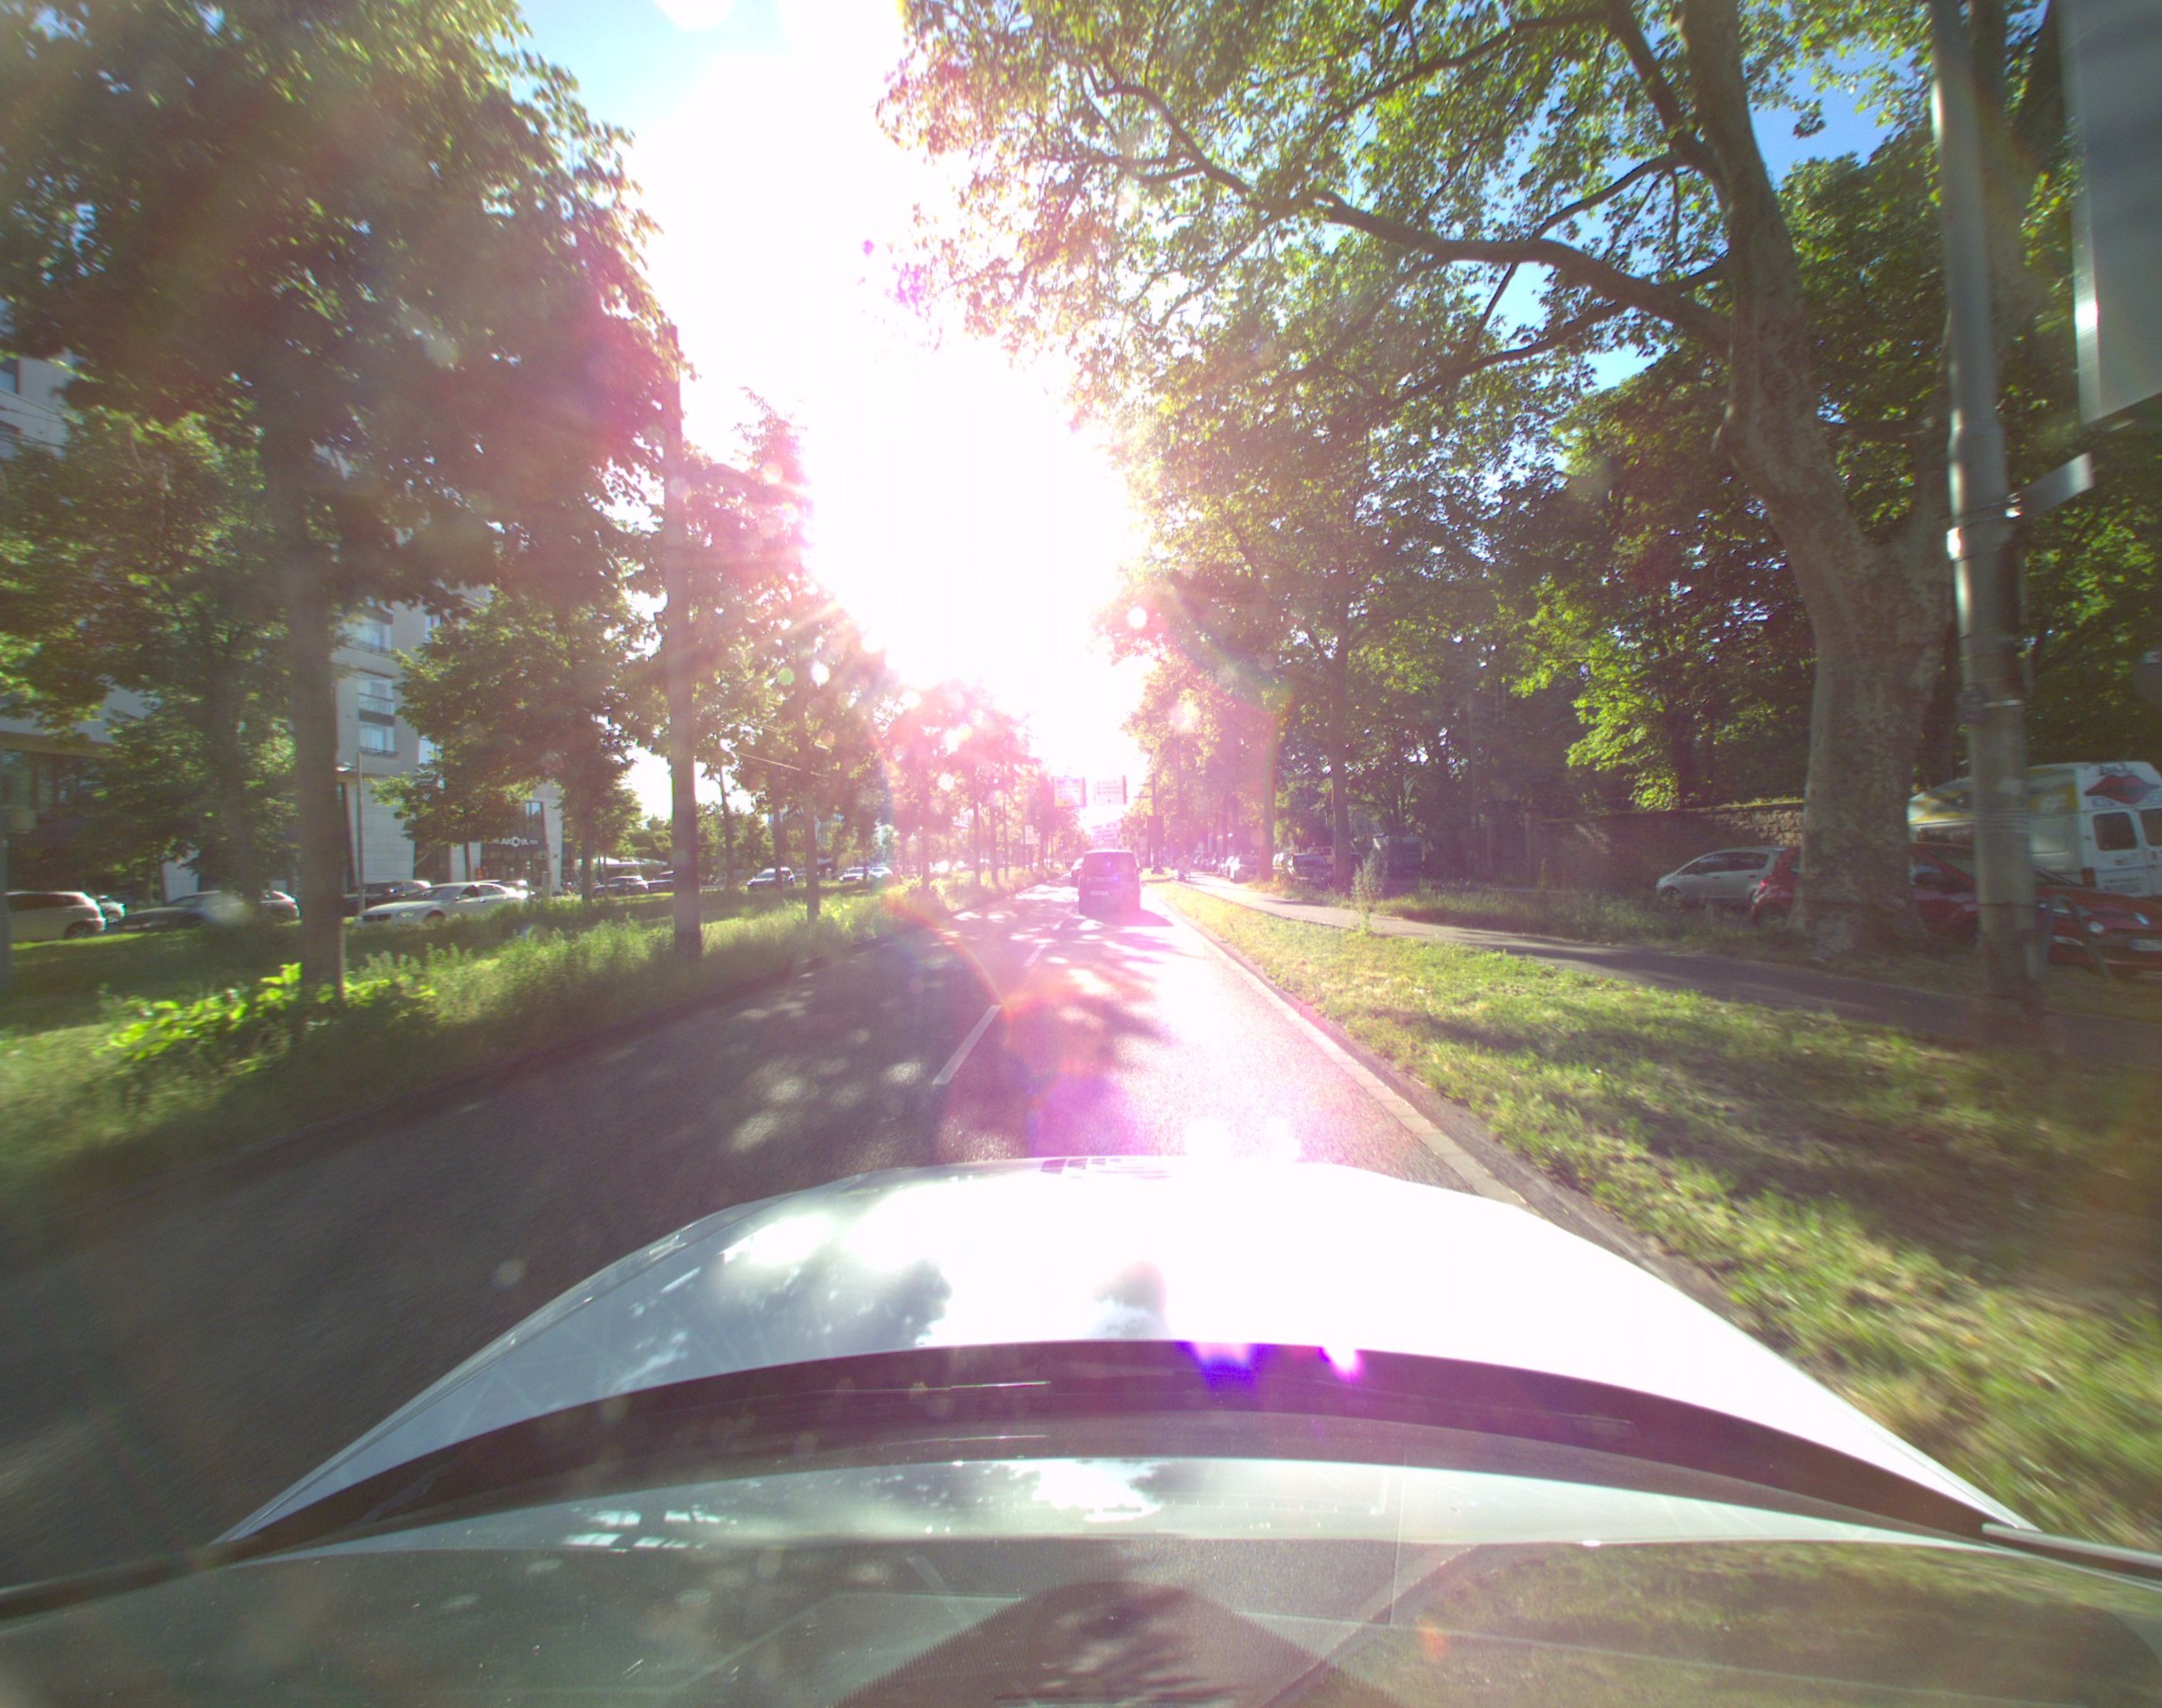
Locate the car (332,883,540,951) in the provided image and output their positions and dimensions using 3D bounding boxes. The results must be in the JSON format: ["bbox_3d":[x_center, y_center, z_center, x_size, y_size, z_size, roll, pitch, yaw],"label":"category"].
[{"bbox_3d":[-18.862,1.762,24.231,1.986,1.686,5.112,0,-1,2],"label":"car"}]

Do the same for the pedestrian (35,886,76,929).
[{"bbox_3d":[-40.176,2.074,31.915,0.634,1.651,0.719,0,-1,-6],"label":"pedestrian"}]

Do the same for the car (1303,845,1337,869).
[{"bbox_3d":[21.438,0.294,73.116,2.076,2.014,4.952,-1,0,7],"label":"car"}]

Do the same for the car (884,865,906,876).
[{"bbox_3d":[-27.047,2.376,118.602,1.985,1.608,4.614,0,-1,3],"label":"car"}]

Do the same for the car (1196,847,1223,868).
[{"bbox_3d":[12.872,0.367,81.836,2.180,2.014,5.825,0,-1,3],"label":"car"}]

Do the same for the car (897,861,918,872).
[{"bbox_3d":[-26.583,1.956,124.642,1.985,1.672,4.614,0,-1,3],"label":"car"}]

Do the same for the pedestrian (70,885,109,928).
[{"bbox_3d":[-39.354,2.075,32.340,0.633,1.651,0.720,0,-1,-1],"label":"pedestrian"}]

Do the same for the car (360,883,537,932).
[{"bbox_3d":[-21.763,1.791,28.391,1.985,1.441,5.114,0,-1,3],"label":"car"}]

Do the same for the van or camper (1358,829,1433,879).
[{"bbox_3d":[18.985,-0.029,49.553,2.543,2.684,6.577,-4,0,7],"label":"van or camper"}]

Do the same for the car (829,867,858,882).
[{"bbox_3d":[-28.245,2.430,97.050,1.871,1.621,4.614,0,-1,3],"label":"car"}]

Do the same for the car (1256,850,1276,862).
[{"bbox_3d":[25.559,0.302,112.567,1.985,1.640,4.003,0,-1,3],"label":"car"}]

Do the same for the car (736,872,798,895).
[{"bbox_3d":[-20.977,1.929,54.581,1.984,1.441,4.708,0,-1,5],"label":"car"}]

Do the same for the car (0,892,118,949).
[{"bbox_3d":[-30.150,1.860,22.381,1.986,1.441,4.457,0,-1,2],"label":"car"}]

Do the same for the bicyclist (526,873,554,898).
[{"bbox_3d":[-31.703,1.811,47.736,0.487,1.406,1.661,0,-1,2],"label":"bicyclist"}]

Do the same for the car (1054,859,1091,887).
[{"bbox_3d":[-0.421,0.995,44.272,1.785,1.428,4.002,0,-1,2],"label":"car"}]

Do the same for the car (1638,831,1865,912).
[{"bbox_3d":[16.084,0.391,19.843,1.839,1.617,3.988,-5,0,-9],"label":"car"}]

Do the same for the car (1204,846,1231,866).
[{"bbox_3d":[11.484,0.183,68.696,1.729,1.642,4.356,0,-1,3],"label":"car"}]

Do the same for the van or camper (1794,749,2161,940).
[{"bbox_3d":[15.970,-0.157,14.484,1.988,2.731,4.962,-5,-1,-1],"label":"van or camper"}]

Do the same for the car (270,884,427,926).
[{"bbox_3d":[-29.991,2.039,33.608,1.987,1.441,4.935,0,-1,0],"label":"car"}]

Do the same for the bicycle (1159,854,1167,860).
[{"bbox_3d":[17.965,0.668,179.032,1.771,1.268,0.479,0,-1,3],"label":"bicycle"}]

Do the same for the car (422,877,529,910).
[{"bbox_3d":[-29.951,1.932,40.476,1.987,1.441,4.454,0,-1,0],"label":"car"}]

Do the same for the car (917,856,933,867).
[{"bbox_3d":[-31.821,1.534,166.253,1.985,2.014,4.567,0,-1,3],"label":"car"}]

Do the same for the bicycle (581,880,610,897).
[{"bbox_3d":[-36.130,2.581,60.655,0.731,1.198,2.241,0,-1,1],"label":"bicycle"}]

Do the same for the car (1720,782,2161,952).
[{"bbox_3d":[10.410,0.142,9.941,1.989,1.640,3.996,0,-1,-3],"label":"car"}]

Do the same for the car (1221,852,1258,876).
[{"bbox_3d":[9.912,0.634,51.181,1.785,1.438,3.888,0,-1,4],"label":"car"}]

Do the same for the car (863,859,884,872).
[{"bbox_3d":[-33.921,1.853,133.150,1.985,2.014,4.567,0,-1,3],"label":"car"}]

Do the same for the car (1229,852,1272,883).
[{"bbox_3d":[9.119,0.740,44.138,1.784,1.560,4.026,1,-1,5],"label":"car"}]

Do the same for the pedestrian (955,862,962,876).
[{"bbox_3d":[-13.528,1.653,89.930,0.547,1.518,0.589,0,-1,7],"label":"pedestrian"}]

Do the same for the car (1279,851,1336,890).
[{"bbox_3d":[10.014,0.729,36.339,1.783,1.634,4.635,0,-1,7],"label":"car"}]

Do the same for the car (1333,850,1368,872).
[{"bbox_3d":[19.704,0.509,59.693,1.681,1.472,3.766,-4,-1,7],"label":"car"}]

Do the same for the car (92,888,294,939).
[{"bbox_3d":[-30.134,1.977,27.891,1.987,1.441,4.454,0,-1,0],"label":"car"}]

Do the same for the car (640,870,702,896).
[{"bbox_3d":[-29.109,2.033,57.938,1.987,1.772,4.775,0,-1,0],"label":"car"}]

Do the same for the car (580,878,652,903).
[{"bbox_3d":[-29.185,2.252,51.284,1.950,1.441,4.268,0,-1,2],"label":"car"}]

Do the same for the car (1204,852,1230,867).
[{"bbox_3d":[12.546,0.535,75.524,1.985,1.290,4.056,0,-1,3],"label":"car"}]

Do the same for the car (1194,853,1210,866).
[{"bbox_3d":[14.783,0.671,99.521,1.654,1.500,2.993,0,-1,5],"label":"car"}]

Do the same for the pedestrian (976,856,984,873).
[{"bbox_3d":[-11.450,1.182,92.015,0.818,1.836,0.726,0,-1,-1],"label":"pedestrian"}]

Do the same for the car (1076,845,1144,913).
[{"bbox_3d":[0.775,0.702,24.132,1.803,1.838,3.998,0,-1,-1],"label":"car"}]

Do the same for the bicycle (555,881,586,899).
[{"bbox_3d":[-36.266,2.552,57.928,0.731,1.198,2.241,0,-1,1],"label":"bicycle"}]

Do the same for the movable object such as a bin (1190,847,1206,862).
[{"bbox_3d":[15.718,0.127,109.808,2.071,2.014,2.139,0,-1,6],"label":"movable object such as a bin"}]

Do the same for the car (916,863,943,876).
[{"bbox_3d":[-17.474,1.726,94.066,1.984,1.441,4.461,0,-1,4],"label":"car"}]
